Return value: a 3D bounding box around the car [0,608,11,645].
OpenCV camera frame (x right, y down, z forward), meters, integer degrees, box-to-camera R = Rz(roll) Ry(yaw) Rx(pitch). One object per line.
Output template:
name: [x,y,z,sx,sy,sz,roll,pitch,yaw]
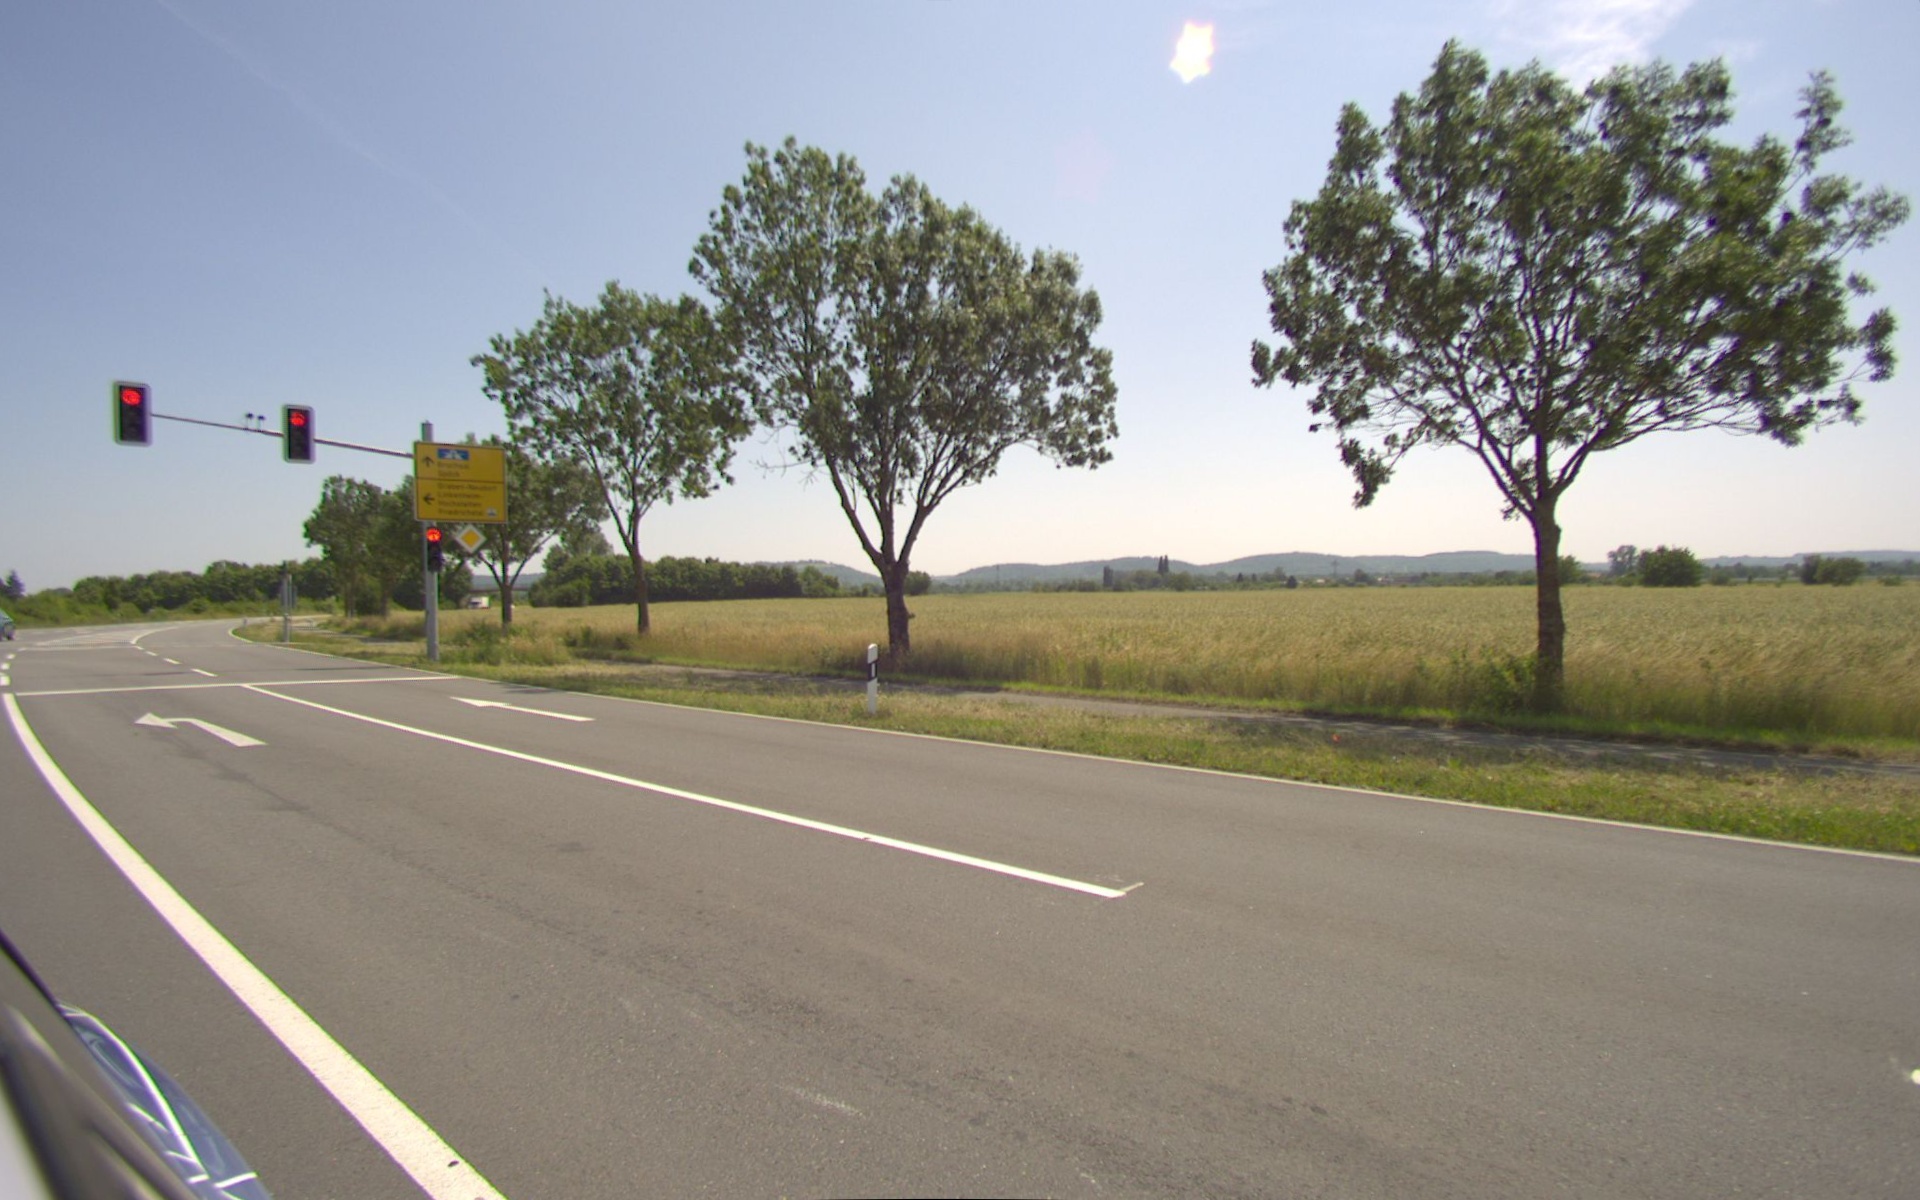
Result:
car: [-41.486,1.134,42.679,1.631,1.578,4.009,0,-1,-36]
